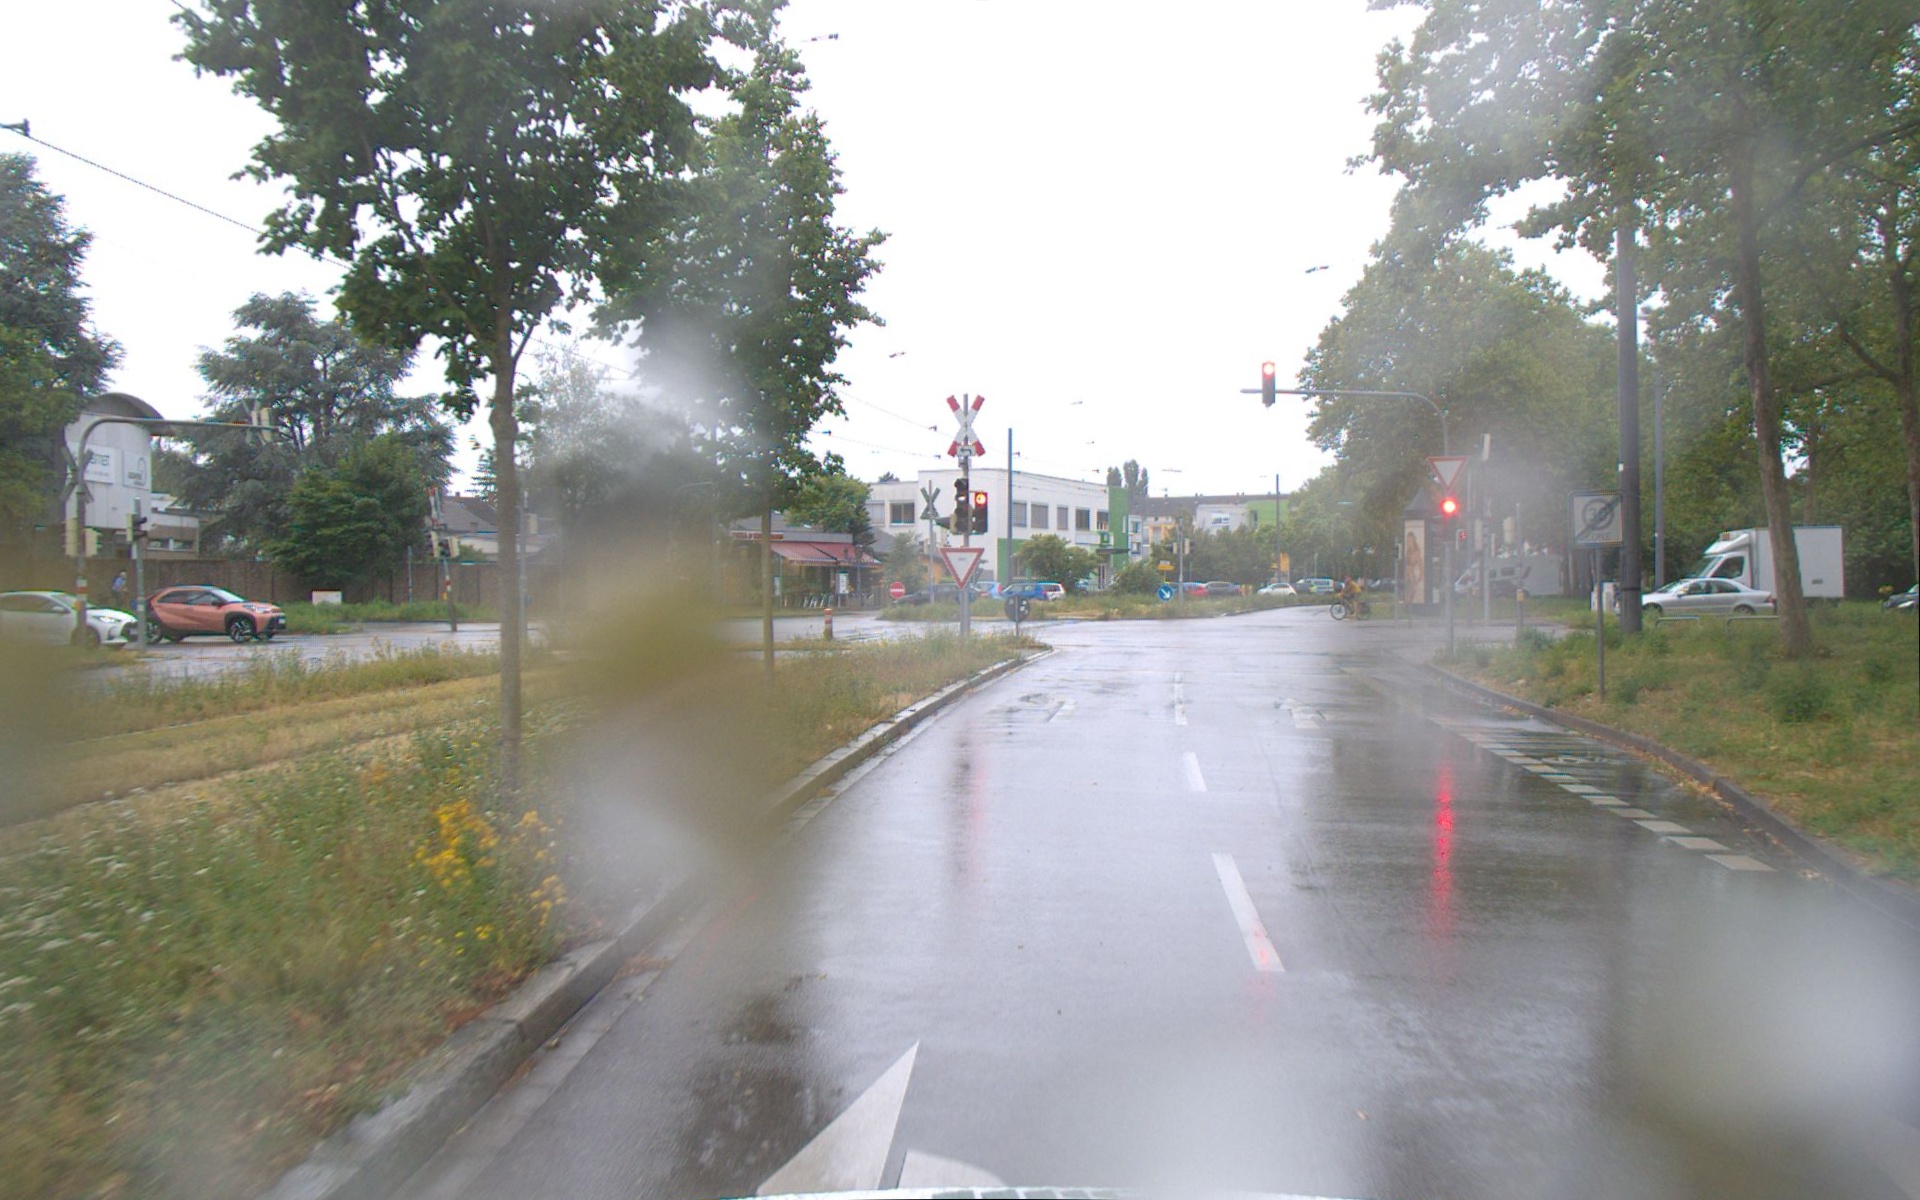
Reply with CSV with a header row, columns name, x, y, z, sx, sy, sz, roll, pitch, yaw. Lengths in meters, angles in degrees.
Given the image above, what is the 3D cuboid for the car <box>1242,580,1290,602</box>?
name,x,y,z,sx,sy,sz,roll,pitch,yaw
car,27.603,-0.846,149.344,4.049,1.892,1.674,-1,0,2

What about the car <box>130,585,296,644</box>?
name,x,y,z,sx,sy,sz,roll,pitch,yaw
car,-20.346,0.381,45.172,3.742,1.525,1.651,-1,0,-4

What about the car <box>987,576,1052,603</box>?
name,x,y,z,sx,sy,sz,roll,pitch,yaw
car,3.399,-0.622,95.170,3.673,1.467,1.763,-1,0,0

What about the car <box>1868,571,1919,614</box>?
name,x,y,z,sx,sy,sz,roll,pitch,yaw
car,33.384,-0.275,56.157,4.112,1.447,1.767,0,0,5

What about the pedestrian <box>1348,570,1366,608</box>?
name,x,y,z,sx,sy,sz,roll,pitch,yaw
pedestrian,15.856,-0.434,66.019,0.564,1.501,0.500,-1,0,0

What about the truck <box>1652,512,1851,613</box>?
name,x,y,z,sx,sy,sz,roll,pitch,yaw
truck,25.121,-1.176,52.652,5.354,3.112,1.982,0,0,3

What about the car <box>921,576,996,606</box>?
name,x,y,z,sx,sy,sz,roll,pitch,yaw
car,-0.051,-0.477,87.101,3.670,1.467,1.764,-1,0,9

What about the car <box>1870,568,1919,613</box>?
name,x,y,z,sx,sy,sz,roll,pitch,yaw
car,31.120,-0.312,52.058,4.024,1.414,1.645,0,0,3

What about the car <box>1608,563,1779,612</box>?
name,x,y,z,sx,sy,sz,roll,pitch,yaw
car,21.958,-0.372,49.624,4.418,1.414,1.645,0,0,3

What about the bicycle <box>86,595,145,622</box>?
name,x,y,z,sx,sy,sz,roll,pitch,yaw
bicycle,-32.335,0.313,63.341,1.917,0.983,0.642,-1,0,2

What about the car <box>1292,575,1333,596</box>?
name,x,y,z,sx,sy,sz,roll,pitch,yaw
car,35.464,-1.474,166.433,4.046,2.010,1.675,-1,0,13

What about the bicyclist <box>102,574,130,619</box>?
name,x,y,z,sx,sy,sz,roll,pitch,yaw
bicyclist,-32.318,-0.127,63.337,0.670,1.712,0.642,-1,0,3

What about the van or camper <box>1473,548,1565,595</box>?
name,x,y,z,sx,sy,sz,roll,pitch,yaw
van or camper,34.190,-1.750,101.180,5.117,2.744,2.242,2,2,25

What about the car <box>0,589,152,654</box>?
name,x,y,z,sx,sy,sz,roll,pitch,yaw
car,-22.620,0.528,41.322,3.985,1.525,1.651,-1,0,-4

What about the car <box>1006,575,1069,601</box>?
name,x,y,z,sx,sy,sz,roll,pitch,yaw
car,4.613,-0.689,98.338,3.673,1.467,1.763,-1,0,0

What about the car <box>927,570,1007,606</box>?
name,x,y,z,sx,sy,sz,roll,pitch,yaw
car,0.391,-0.657,90.532,4.046,1.892,1.675,-1,0,13

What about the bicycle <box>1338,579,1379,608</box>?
name,x,y,z,sx,sy,sz,roll,pitch,yaw
bicycle,15.911,-0.277,66.024,1.529,1.121,0.500,-1,0,0

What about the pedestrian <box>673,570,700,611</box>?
name,x,y,z,sx,sy,sz,roll,pitch,yaw
pedestrian,-11.849,-0.412,71.696,0.795,1.794,0.896,-1,0,-38
